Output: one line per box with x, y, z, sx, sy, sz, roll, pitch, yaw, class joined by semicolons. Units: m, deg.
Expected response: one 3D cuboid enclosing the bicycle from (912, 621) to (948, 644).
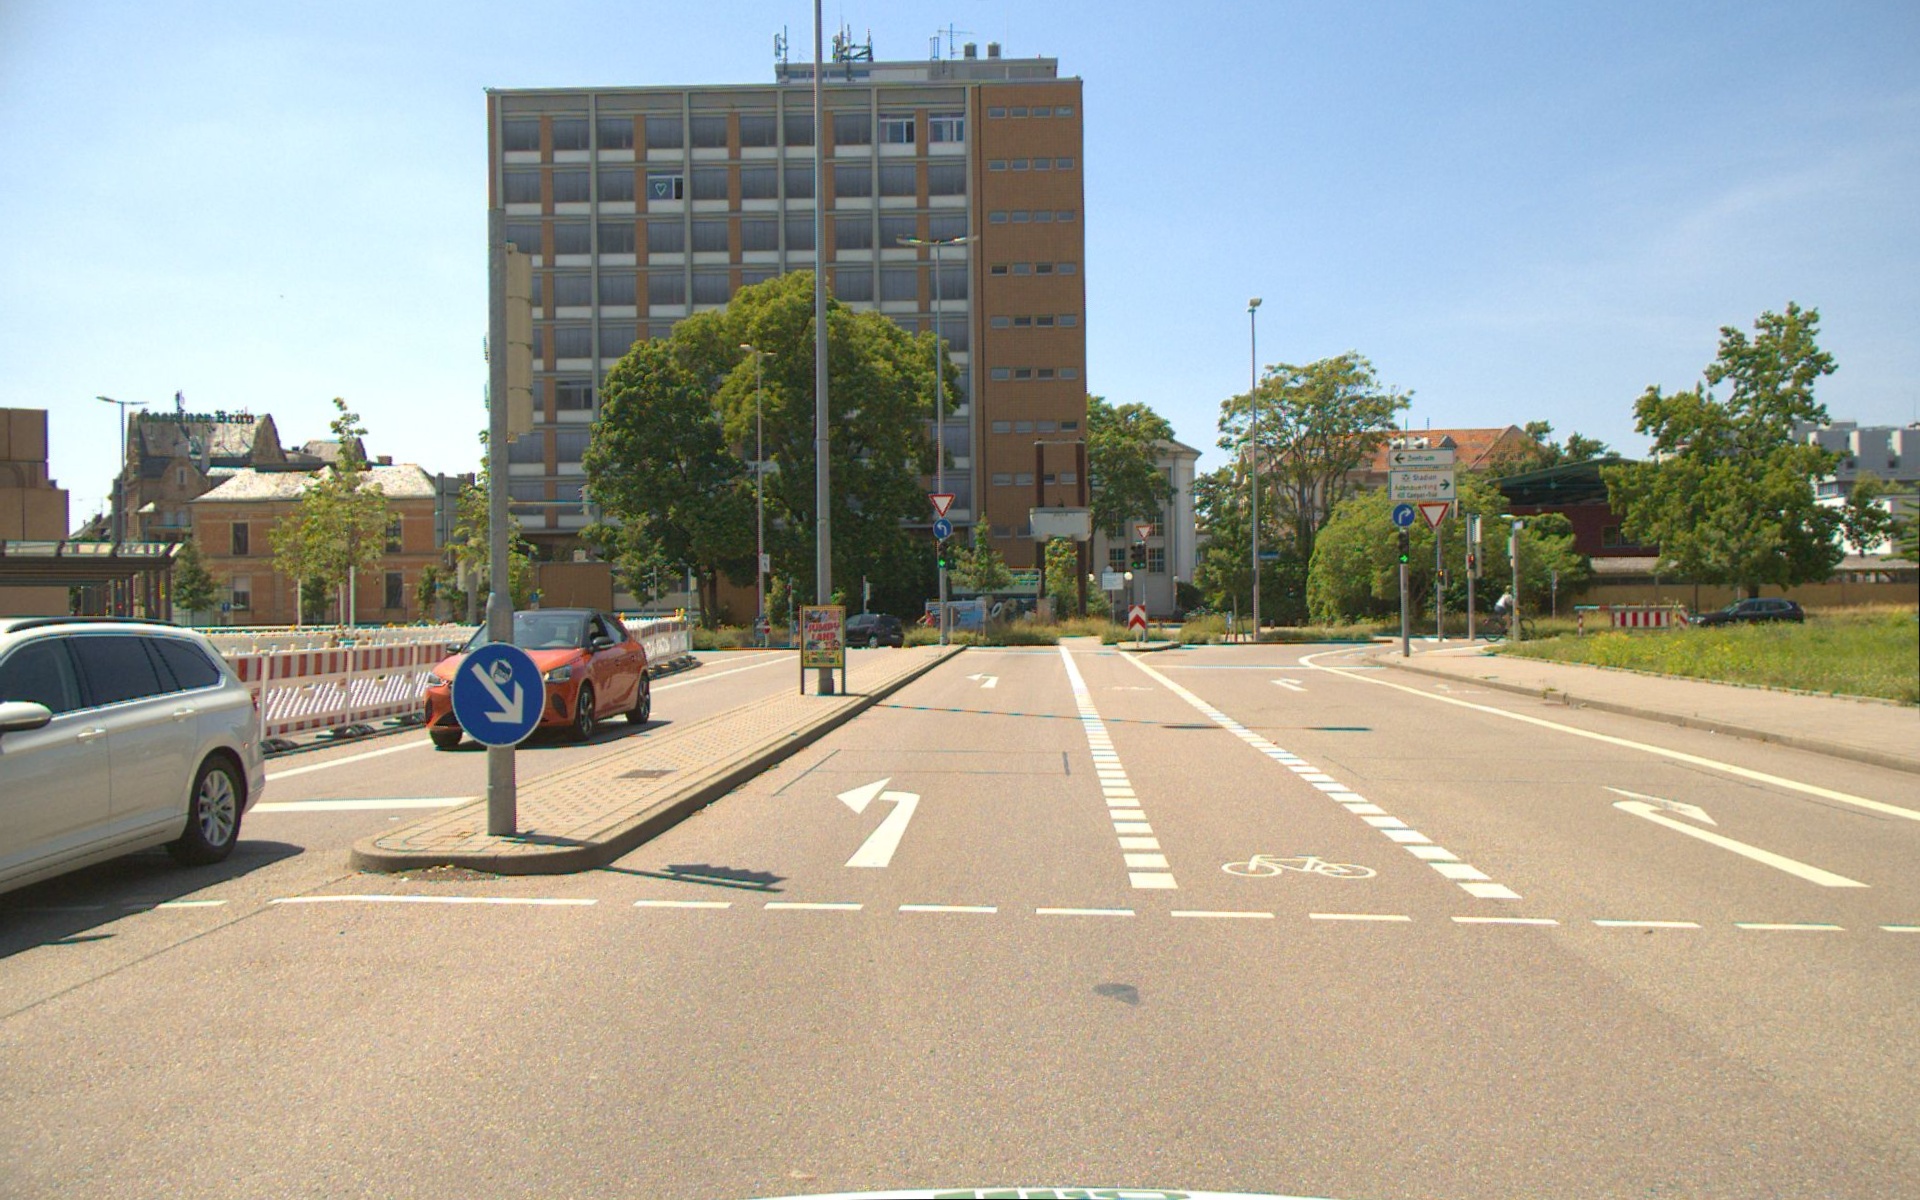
-1.478;1.615;82.711;0.549;1.063;1.983;0;1;44;bicycle

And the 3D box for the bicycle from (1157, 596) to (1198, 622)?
18.261;0.750;138.840;3.374;2.049;0.761;1;-1;5;bicycle

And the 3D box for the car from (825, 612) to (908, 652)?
-4.028;1.359;70.800;1.604;1.579;3.719;1;-1;-41;car

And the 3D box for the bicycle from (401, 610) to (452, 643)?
-20.026;1.003;62.076;1.853;1.201;0.524;-2;-1;20;bicycle

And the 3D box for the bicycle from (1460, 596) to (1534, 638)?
16.715;0.524;51.502;2.142;1.259;0.520;1;-1;-5;bicycle

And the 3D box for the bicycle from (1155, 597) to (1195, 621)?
18.375;0.778;141.496;3.374;2.049;0.761;1;-1;5;bicycle

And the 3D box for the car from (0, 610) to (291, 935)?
-5.236;0.828;8.366;1.778;1.453;4.427;-3;0;1;car

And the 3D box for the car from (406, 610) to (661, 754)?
-4.762;0.859;19.062;1.653;1.402;4.015;-3;-1;3;car

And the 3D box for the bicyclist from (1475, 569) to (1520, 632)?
16.691;0.014;51.389;1.113;1.920;0.708;1;-1;-6;bicyclist

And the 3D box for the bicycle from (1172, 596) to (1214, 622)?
19.157;0.716;135.866;3.374;2.049;0.761;1;-1;5;bicycle

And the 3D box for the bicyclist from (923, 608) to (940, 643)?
-1.438;1.267;82.781;0.542;1.745;0.698;0;1;44;bicyclist

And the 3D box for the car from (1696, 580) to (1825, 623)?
32.780;0.073;67.825;4.444;1.614;1.710;-2;-1;9;car

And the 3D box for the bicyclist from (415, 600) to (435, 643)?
-20.102;0.800;62.133;0.486;1.607;0.531;-2;-2;20;bicyclist
